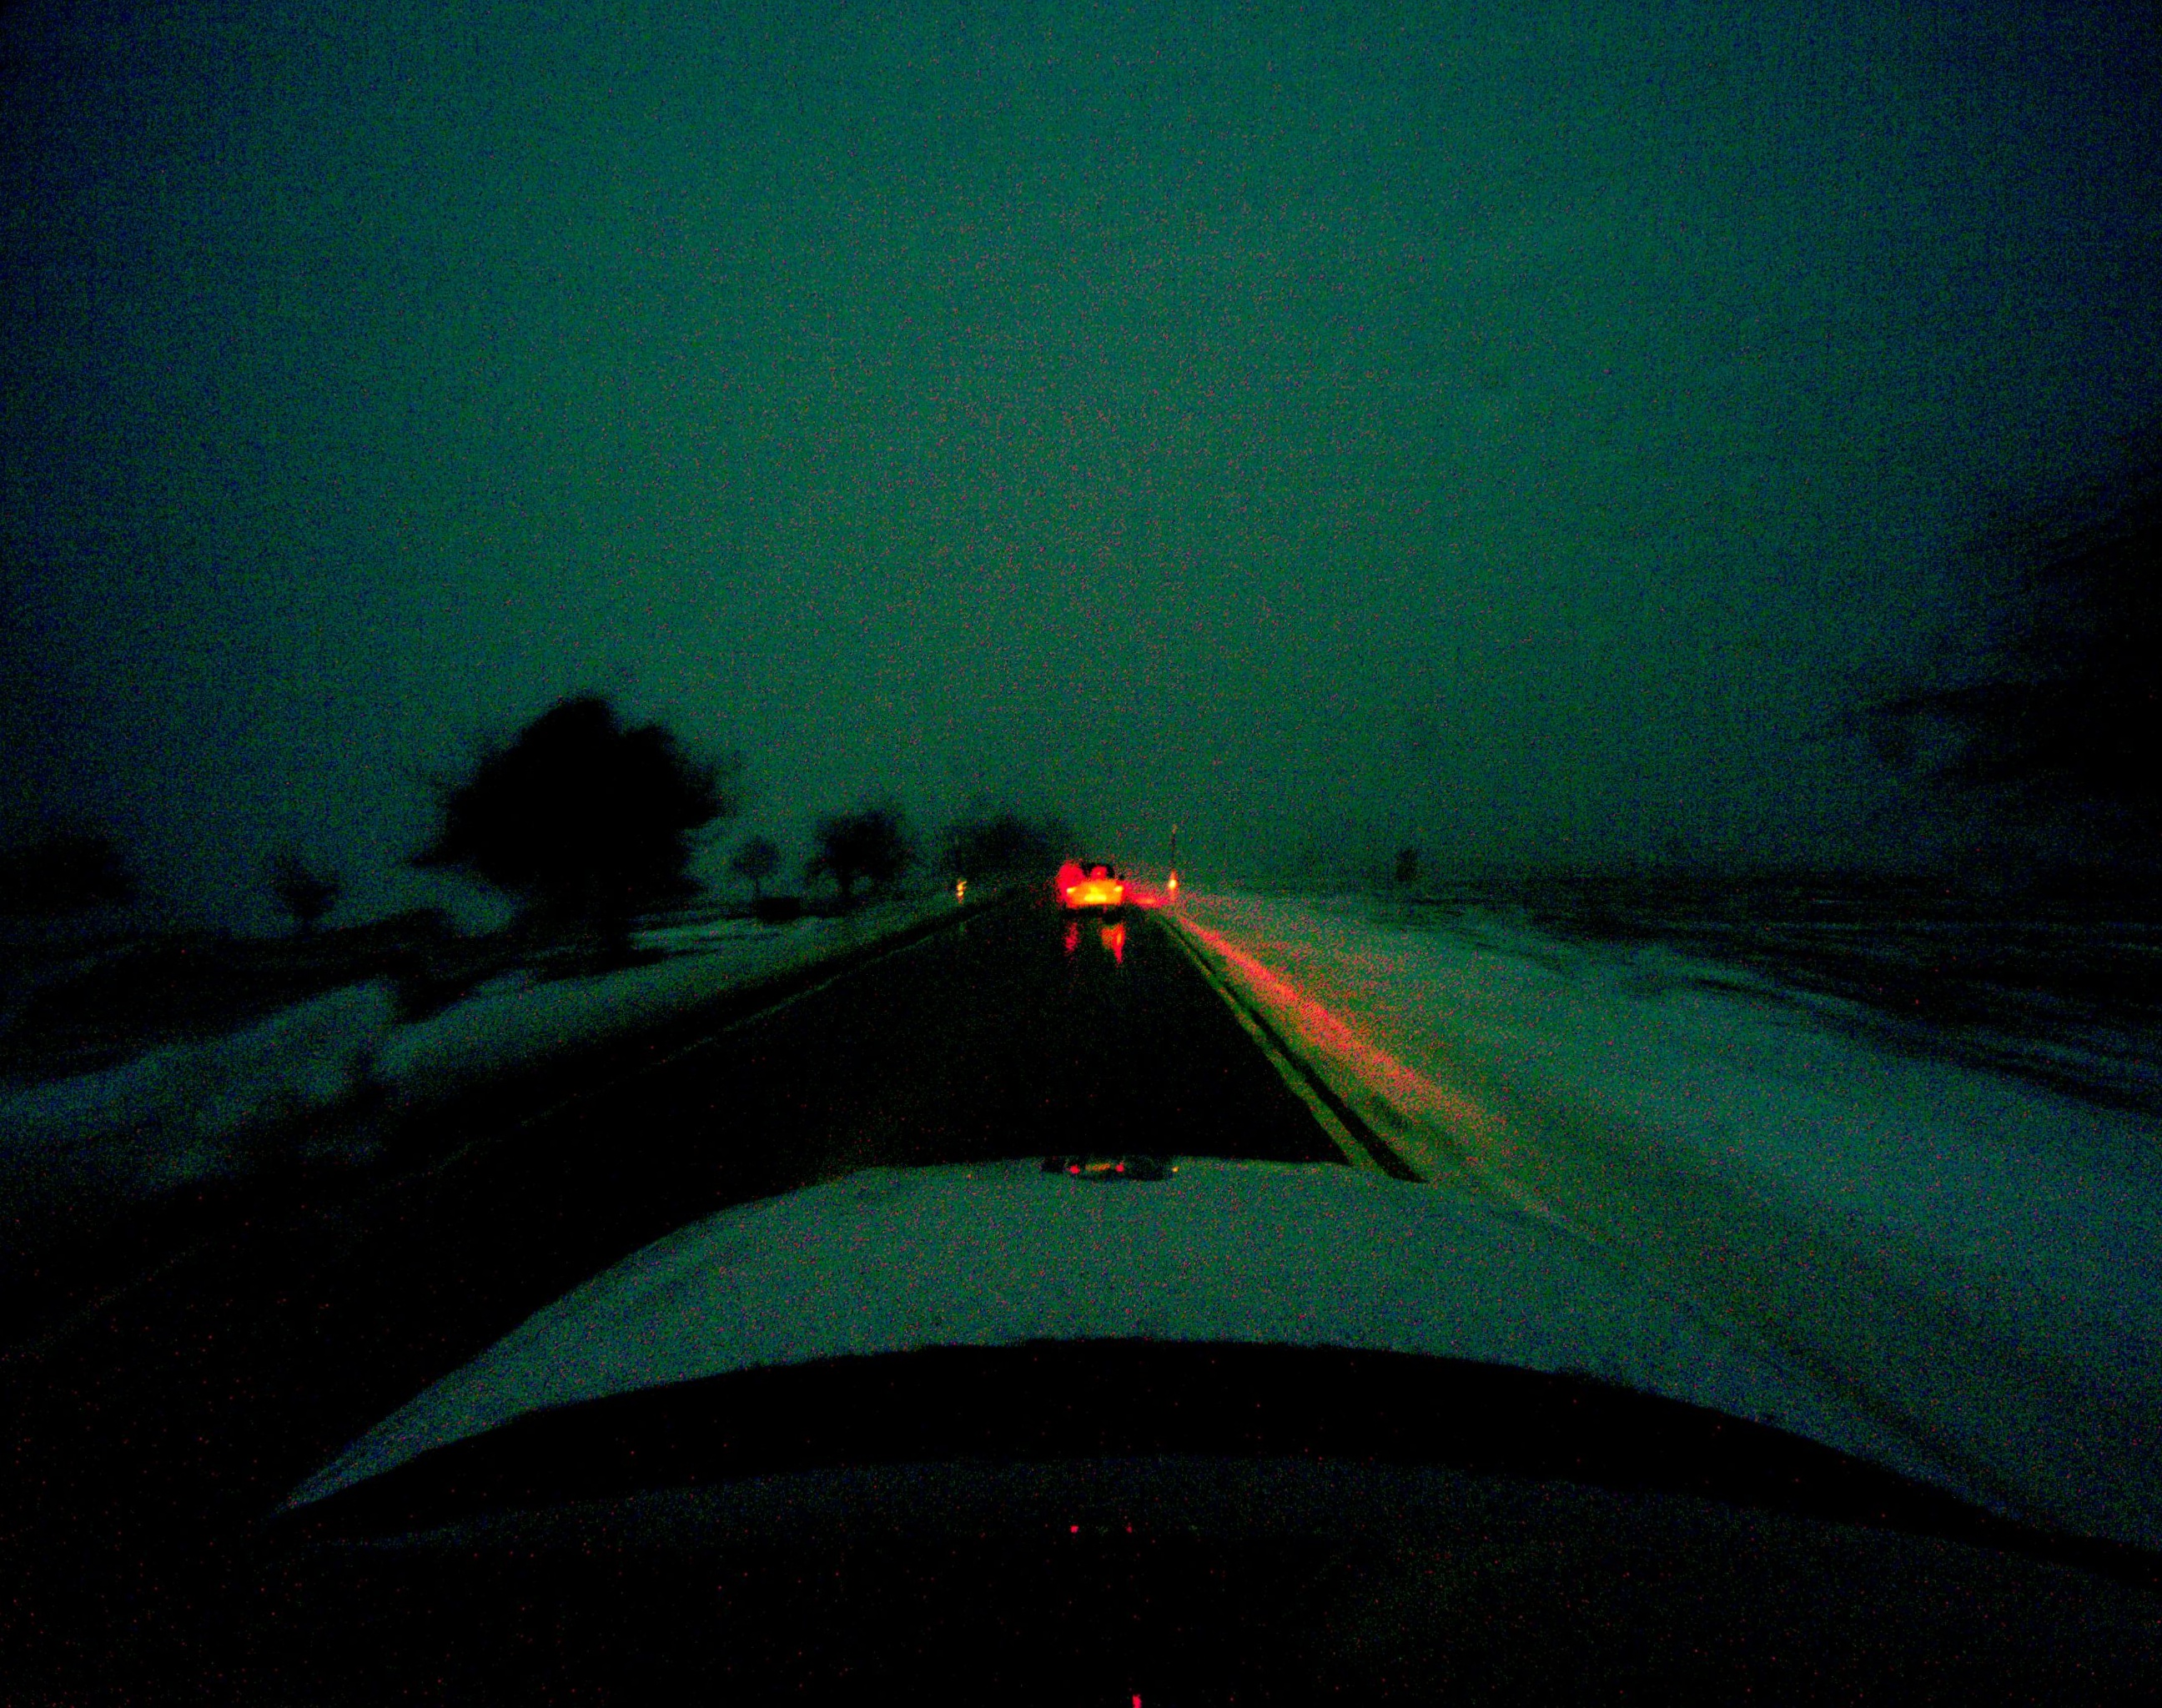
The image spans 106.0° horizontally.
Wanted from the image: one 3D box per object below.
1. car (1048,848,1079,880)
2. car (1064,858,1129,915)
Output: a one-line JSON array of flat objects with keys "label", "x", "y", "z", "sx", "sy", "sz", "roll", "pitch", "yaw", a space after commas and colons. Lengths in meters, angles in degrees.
[{"label": "car", "x": -0.872, "y": 0.534, "z": 42.211, "sx": 1.474, "sy": 1.508, "sz": 3.052, "roll": -2, "pitch": -2, "yaw": 1}, {"label": "car", "x": 0.418, "y": 0.894, "z": 23.470, "sx": 1.701, "sy": 1.463, "sz": 3.999, "roll": 0, "pitch": -1, "yaw": 0}]
